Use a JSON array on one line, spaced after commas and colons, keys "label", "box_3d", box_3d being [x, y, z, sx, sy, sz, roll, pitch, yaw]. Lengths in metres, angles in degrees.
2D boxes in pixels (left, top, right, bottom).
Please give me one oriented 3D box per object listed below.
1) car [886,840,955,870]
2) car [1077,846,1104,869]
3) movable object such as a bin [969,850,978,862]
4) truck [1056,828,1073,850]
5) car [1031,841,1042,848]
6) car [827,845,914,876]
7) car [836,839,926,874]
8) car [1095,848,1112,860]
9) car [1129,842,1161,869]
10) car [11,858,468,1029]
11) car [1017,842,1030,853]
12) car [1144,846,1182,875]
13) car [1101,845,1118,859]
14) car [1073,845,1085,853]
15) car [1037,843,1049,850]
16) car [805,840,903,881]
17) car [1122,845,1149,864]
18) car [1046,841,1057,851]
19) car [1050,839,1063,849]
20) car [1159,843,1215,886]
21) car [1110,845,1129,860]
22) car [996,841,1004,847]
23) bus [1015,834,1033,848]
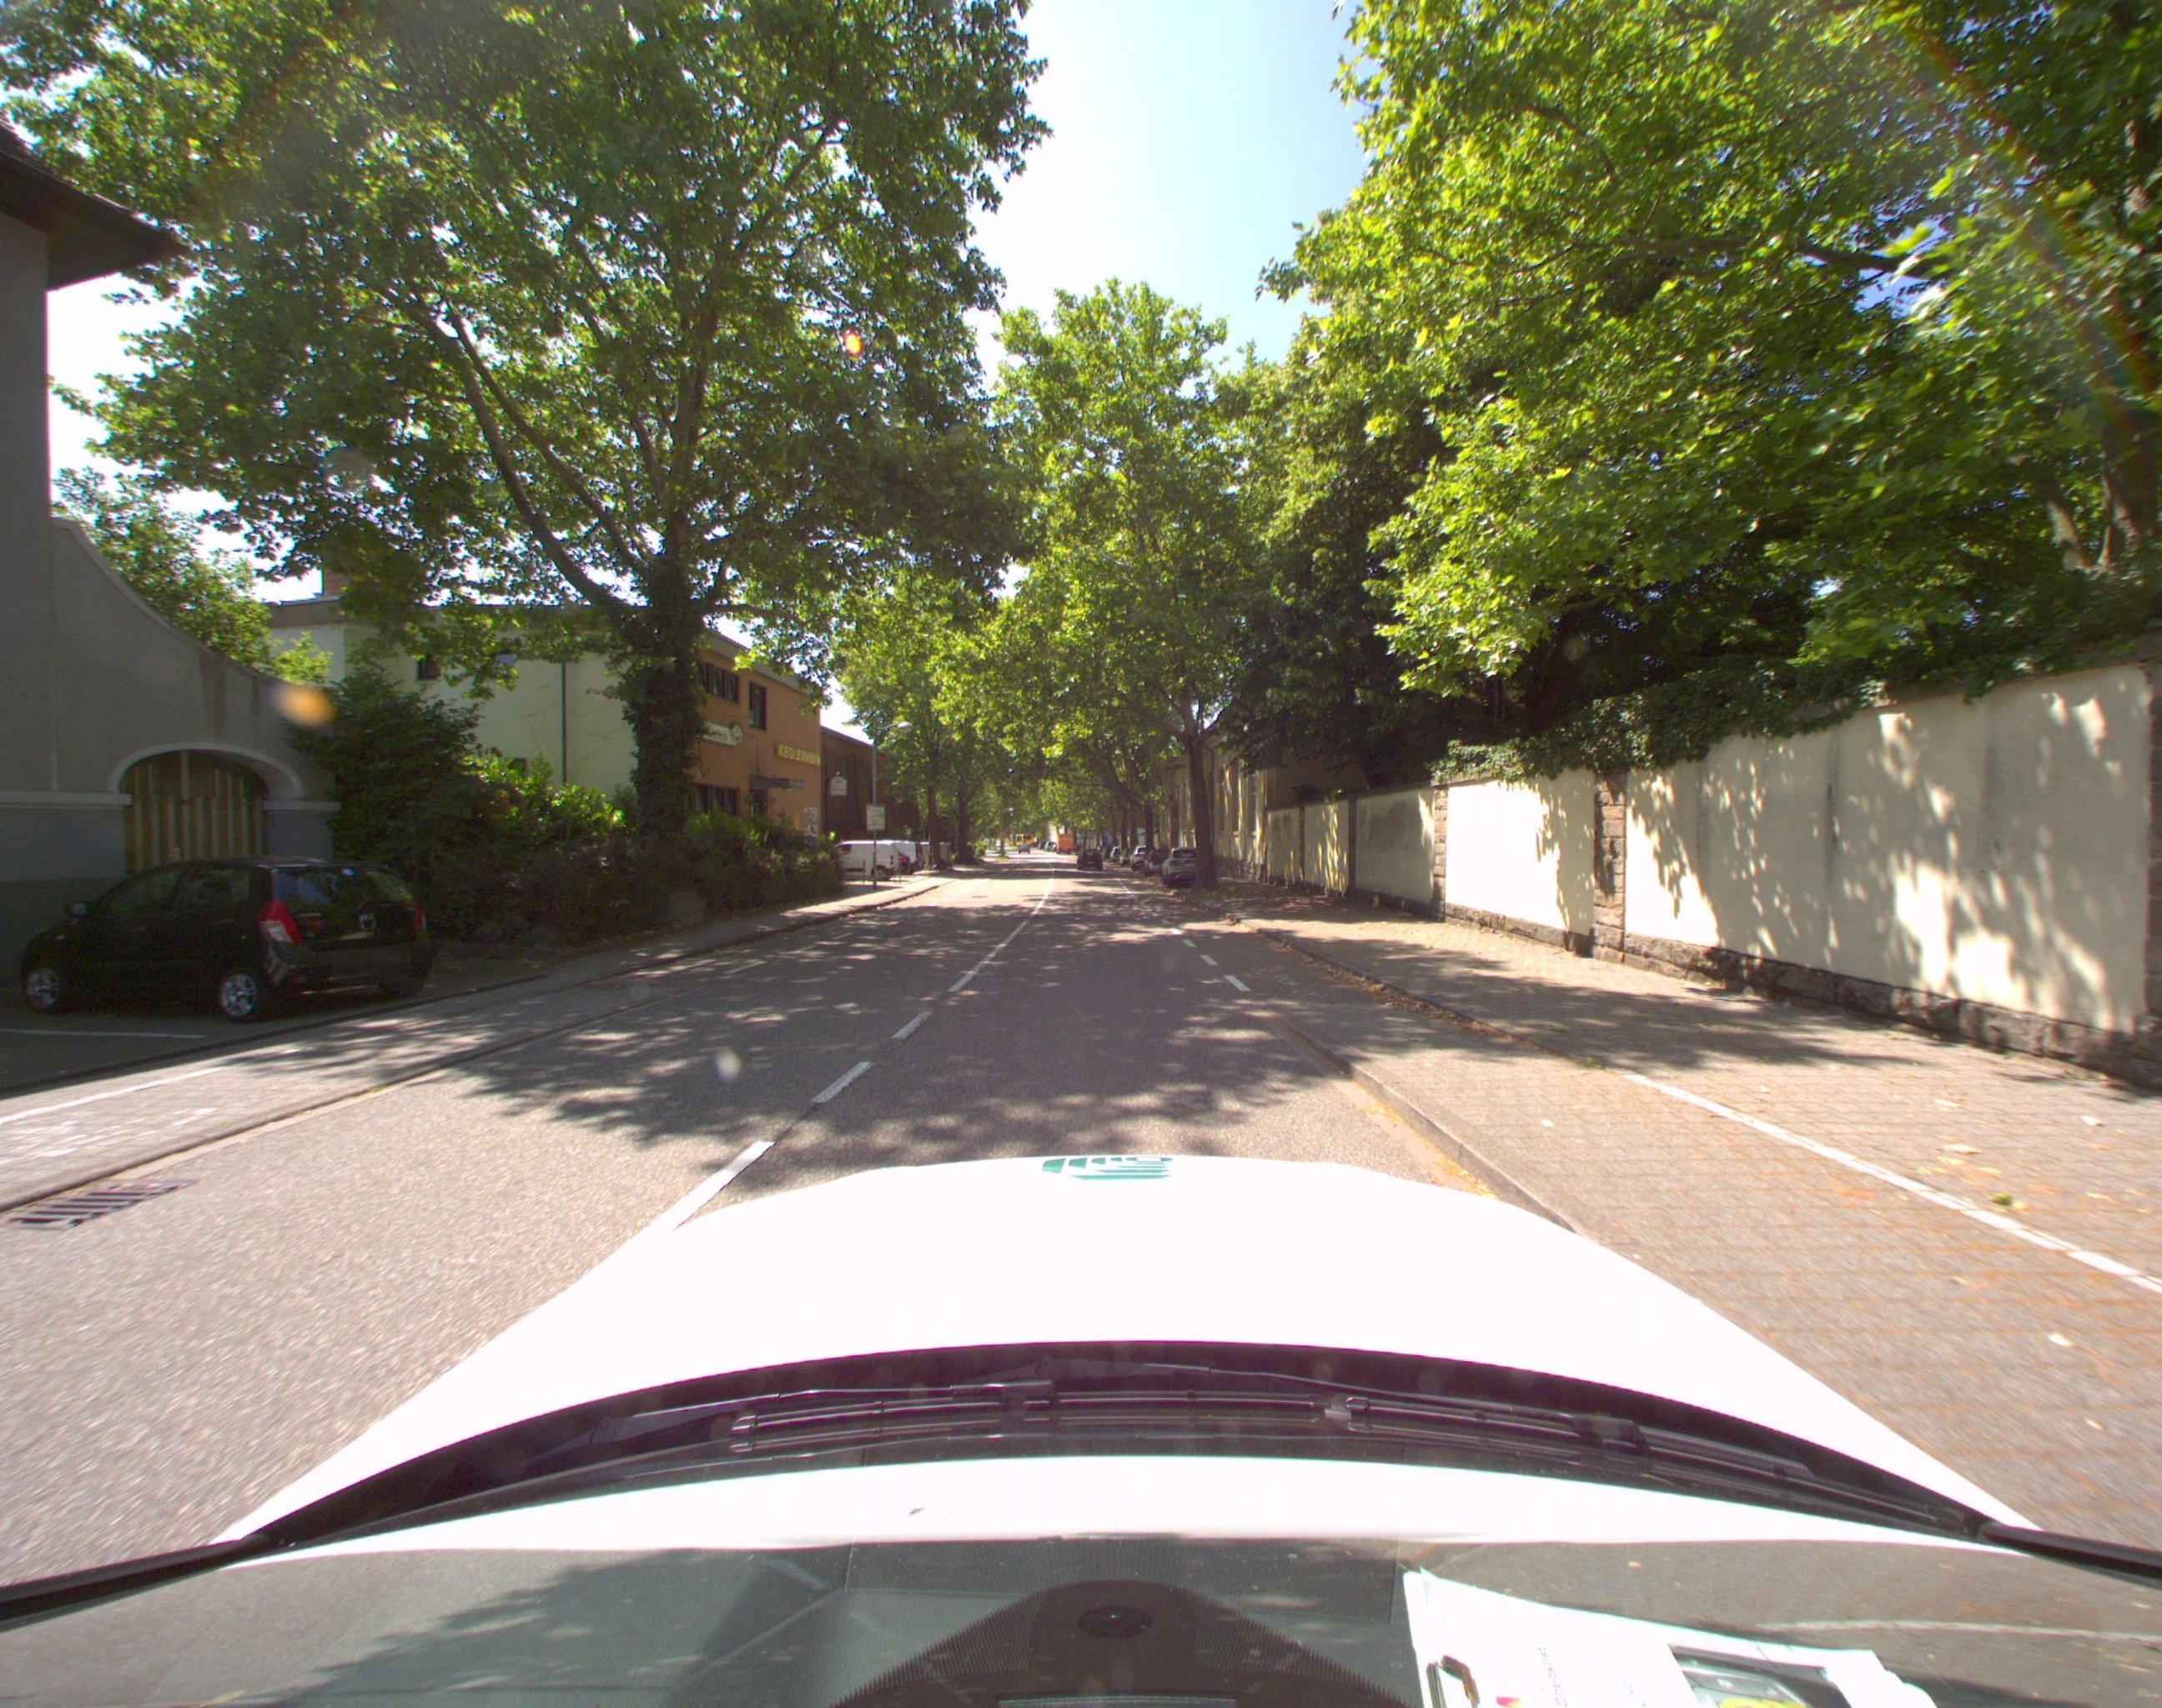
[{"label": "car", "box_3d": [-10.338, 0.047, 52.708, 4.119, 1.804, 1.901, 1, 0, -4]}, {"label": "car", "box_3d": [0.622, 0.200, 55.319, 1.706, 1.447, 4.057, -1, 2, -1]}, {"label": "movable object such as a bin", "box_3d": [-9.351, 0.155, 70.968, 0.621, 1.048, 0.621, 0, 0, 3]}, {"label": "truck", "box_3d": [-2.552, -2.253, 122.859, 2.365, 3.134, 5.763, -1, -1, -3]}, {"label": "car", "box_3d": [-9.385, -1.909, 172.142, 1.768, 1.374, 3.714, -2, 1, -12]}, {"label": "car", "box_3d": [-10.834, 0.335, 42.098, 3.978, 1.515, 1.866, 1, 0, -4]}, {"label": "car", "box_3d": [-10.869, 0.129, 44.531, 4.413, 1.804, 1.901, 1, 0, -4]}, {"label": "car", "box_3d": [2.825, 0.011, 104.041, 1.764, 1.374, 3.723, -2, 1, -5]}, {"label": "car", "box_3d": [4.376, 0.072, 56.511, 1.802, 1.689, 4.751, -2, 1, 0]}, {"label": "car", "box_3d": [-8.739, 0.847, 8.615, 3.361, 1.546, 1.729, -1, 0, 10]}, {"label": "car", "box_3d": [-9.269, -1.046, 131.228, 1.991, 1.666, 3.991, 0, -1, -6]}, {"label": "car", "box_3d": [4.456, 0.311, 44.779, 1.616, 1.439, 4.432, -2, 1, 0]}, {"label": "car", "box_3d": [3.303, -0.236, 94.351, 1.762, 1.465, 3.873, -2, 1, -2]}, {"label": "car", "box_3d": [-0.284, -0.813, 139.445, 1.764, 1.374, 3.723, 0, 0, -5]}, {"label": "car", "box_3d": [-7.553, -1.529, 161.300, 1.768, 1.374, 3.713, -2, 1, -13]}, {"label": "car", "box_3d": [-10.389, 0.283, 37.487, 3.978, 1.792, 1.866, 1, 0, -4]}, {"label": "car", "box_3d": [4.464, 0.019, 67.167, 1.762, 1.433, 3.873, -2, 1, -2]}, {"label": "car", "box_3d": [-5.404, -1.405, 148.172, 1.876, 1.685, 3.993, -1, -1, -5]}, {"label": "car", "box_3d": [-4.191, -1.723, 140.663, 1.878, 1.685, 3.989, 0, -1, -8]}, {"label": "car", "box_3d": [4.228, 0.366, 33.197, 1.735, 1.557, 4.782, -2, 1, 1]}, {"label": "car", "box_3d": [3.823, -0.161, 81.653, 1.573, 1.465, 3.873, -2, 1, -2]}, {"label": "car", "box_3d": [-18.225, -2.256, 183.187, 1.709, 1.447, 4.048, -1, 0, -7]}, {"label": "bus", "box_3d": [-13.879, -3.143, 196.126, 2.666, 3.150, 11.149, -1, 0, -12]}]
